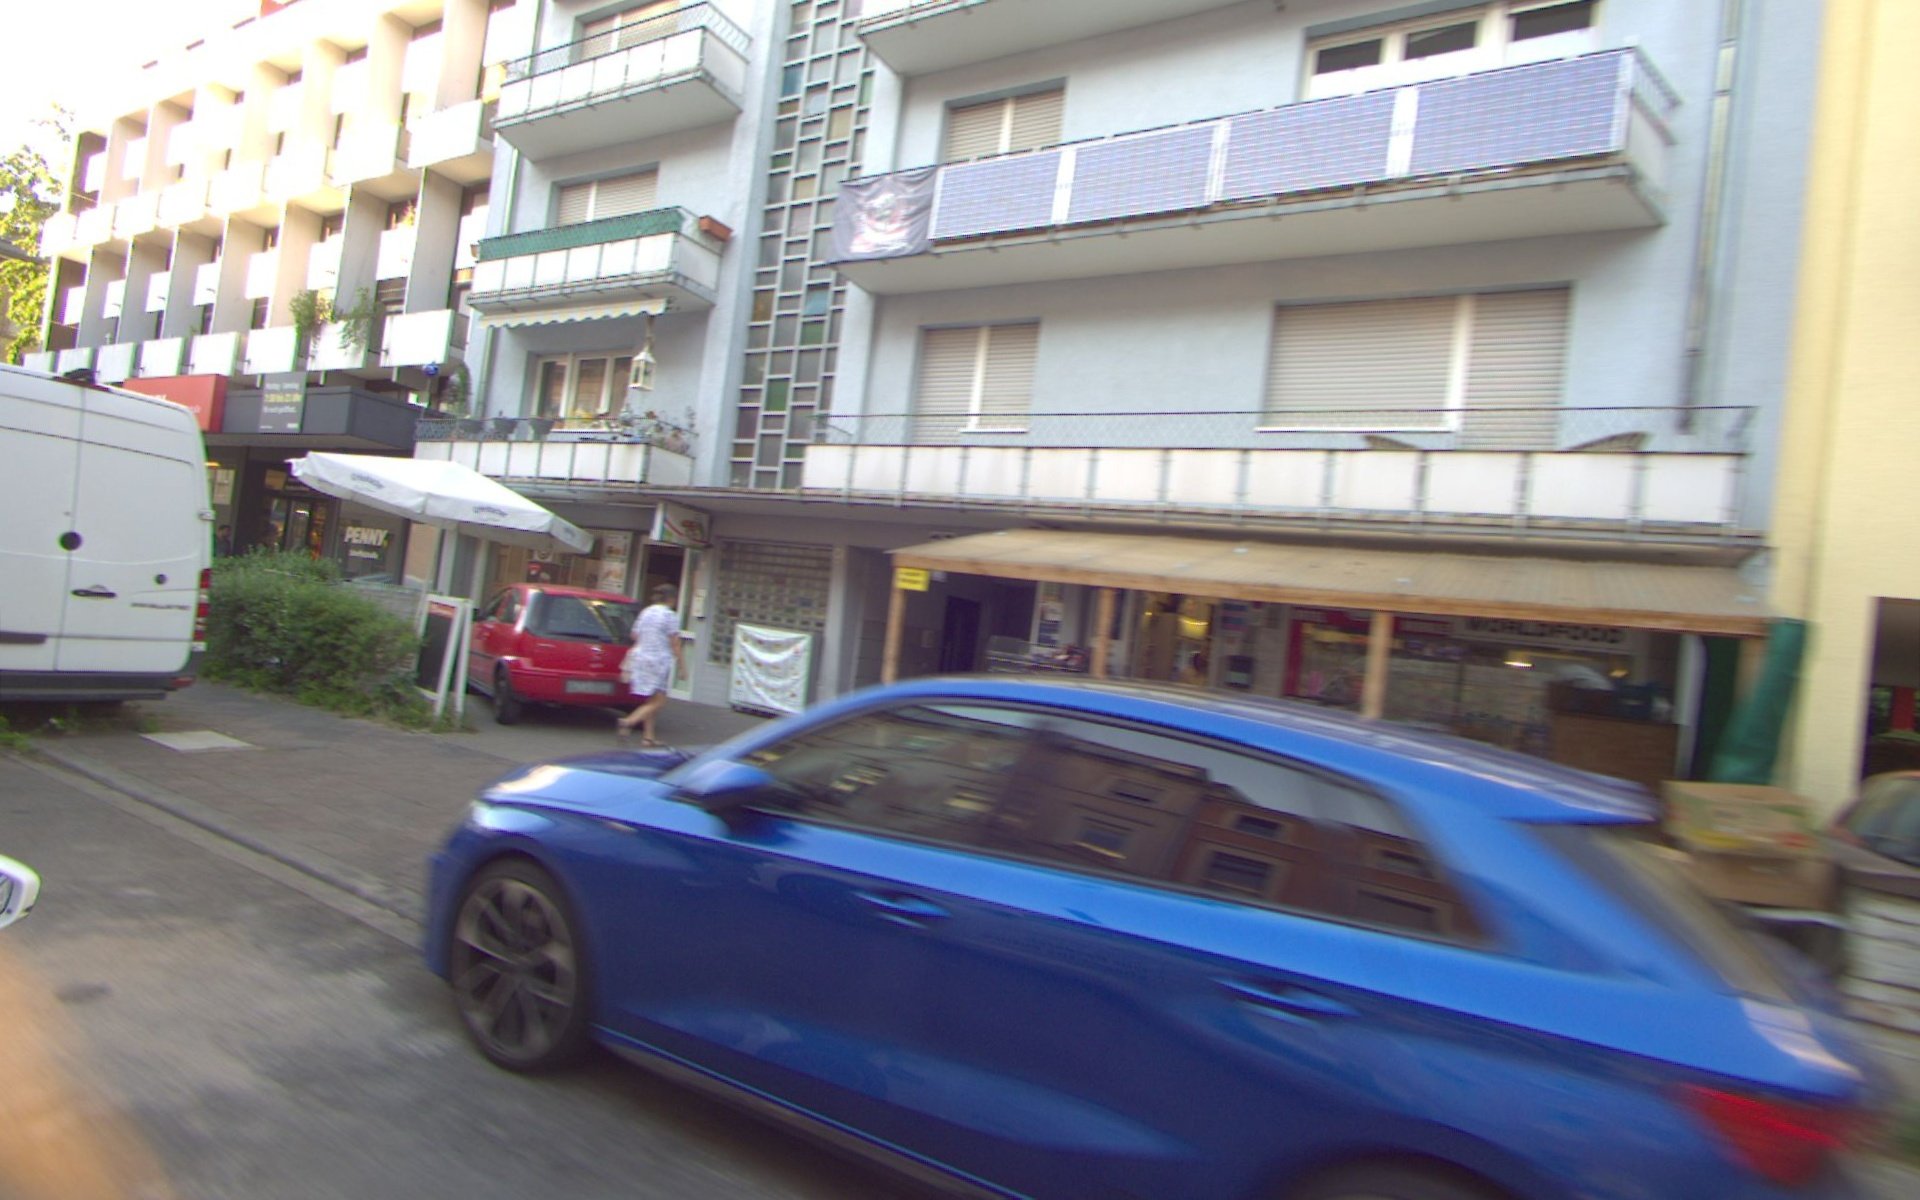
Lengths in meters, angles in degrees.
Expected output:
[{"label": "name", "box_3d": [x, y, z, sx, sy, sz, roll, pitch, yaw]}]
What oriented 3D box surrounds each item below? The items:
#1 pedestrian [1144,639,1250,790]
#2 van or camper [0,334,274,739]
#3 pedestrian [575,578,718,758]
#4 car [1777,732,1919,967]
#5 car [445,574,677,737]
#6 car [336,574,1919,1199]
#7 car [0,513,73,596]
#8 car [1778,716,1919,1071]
[{"label": "pedestrian", "box_3d": [2.990, 1.437, 12.670, 0.939, 1.720, 0.848, 6, -3, 27]}, {"label": "van or camper", "box_3d": [-9.241, -0.690, 8.829, 7.385, 2.632, 2.104, 6, -2, 30]}, {"label": "pedestrian", "box_3d": [-3.021, 0.642, 9.773, 0.859, 1.575, 0.874, 7, 0, 9]}, {"label": "car", "box_3d": [8.807, 2.133, 8.521, 1.965, 1.678, 4.120, 6, -3, 27]}, {"label": "car", "box_3d": [-4.599, 0.554, 11.362, 1.591, 1.432, 3.199, 8, -2, -35]}, {"label": "car", "box_3d": [0.132, 0.878, 3.225, 4.222, 1.404, 1.726, 6, -1, 30]}, {"label": "car", "box_3d": [-19.739, -1.067, 18.595, 1.810, 1.484, 4.631, 6, -1, 31]}, {"label": "car", "box_3d": [5.634, 1.529, 5.005, 1.666, 1.624, 3.908, 6, -4, 30]}]
